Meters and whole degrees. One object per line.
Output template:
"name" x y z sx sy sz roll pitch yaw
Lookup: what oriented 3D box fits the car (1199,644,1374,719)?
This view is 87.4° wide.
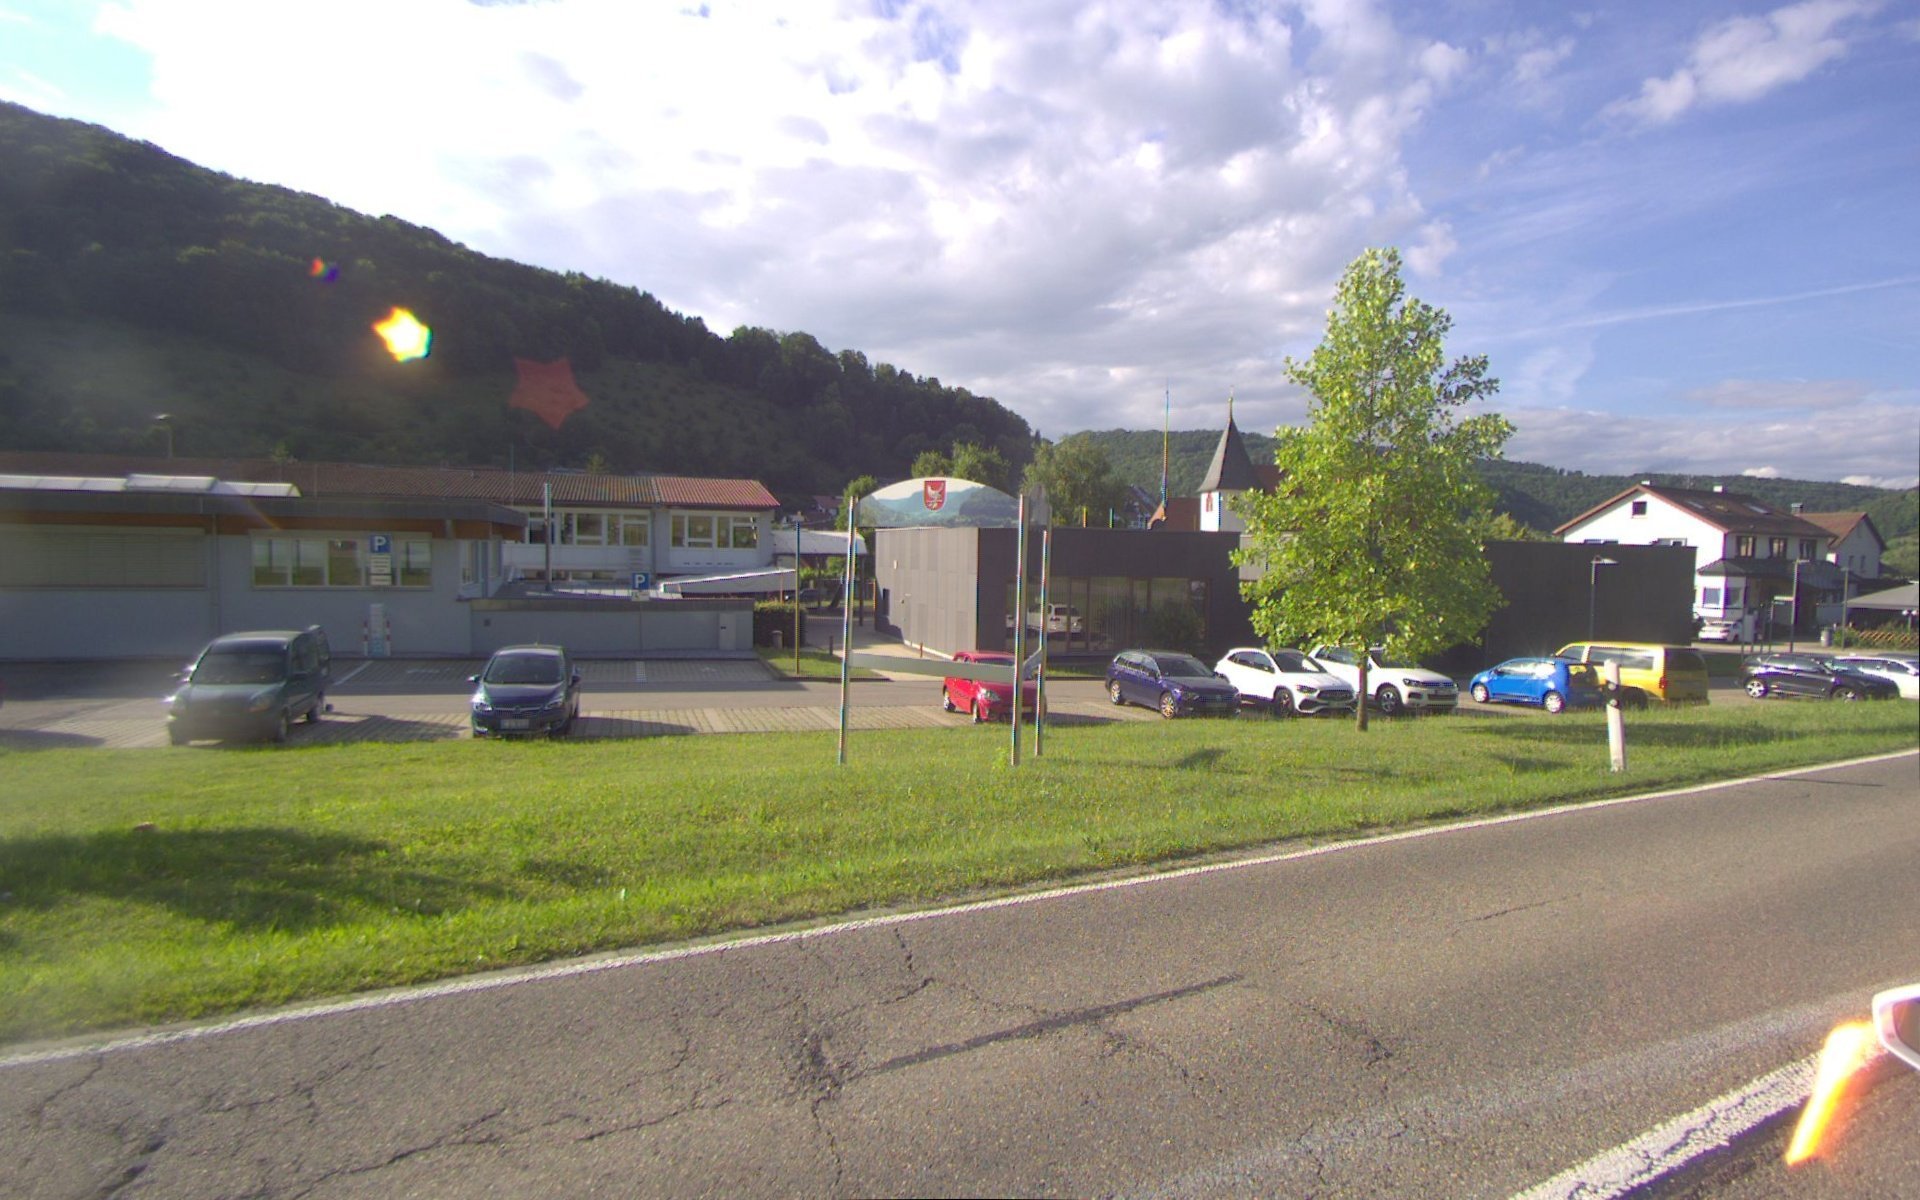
"car" 8.373 2.051 26.237 1.970 1.575 4.532 2 0 -20

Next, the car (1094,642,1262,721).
"car" 5.308 1.962 25.108 1.970 1.575 4.532 2 0 -20

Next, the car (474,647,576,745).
"car" -8.464 1.783 19.740 1.660 1.471 3.999 -1 1 -22

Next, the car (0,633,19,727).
"car" -18.022 1.459 16.561 1.818 1.691 4.321 2 0 -16

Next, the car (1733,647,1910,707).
"car" 28.604 2.516 33.501 1.970 1.659 4.019 2 0 -20

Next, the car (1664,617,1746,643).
"car" 45.804 1.825 61.751 3.927 1.461 1.767 2 0 -8

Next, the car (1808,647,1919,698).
"car" 32.852 2.548 34.966 1.853 1.513 4.807 2 0 -20

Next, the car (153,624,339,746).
"car" -13.197 1.458 18.901 1.660 1.817 4.981 2 0 -22

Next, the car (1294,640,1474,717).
"car" 11.476 2.075 27.552 1.970 1.725 4.532 2 0 -20

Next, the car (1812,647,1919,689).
"car" 34.561 2.534 37.387 1.736 1.327 3.976 2 0 -24

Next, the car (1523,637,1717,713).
"car" 19.420 2.159 29.853 1.968 1.893 4.609 2 0 -17

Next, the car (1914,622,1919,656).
"car" 49.803 2.015 49.729 3.413 1.684 1.735 2 0 34

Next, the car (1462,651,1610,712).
"car" 16.778 2.335 29.436 1.609 1.492 3.486 2 0 -22

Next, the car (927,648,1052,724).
"car" 0.586 1.917 23.166 1.591 1.416 3.715 2 0 -20
